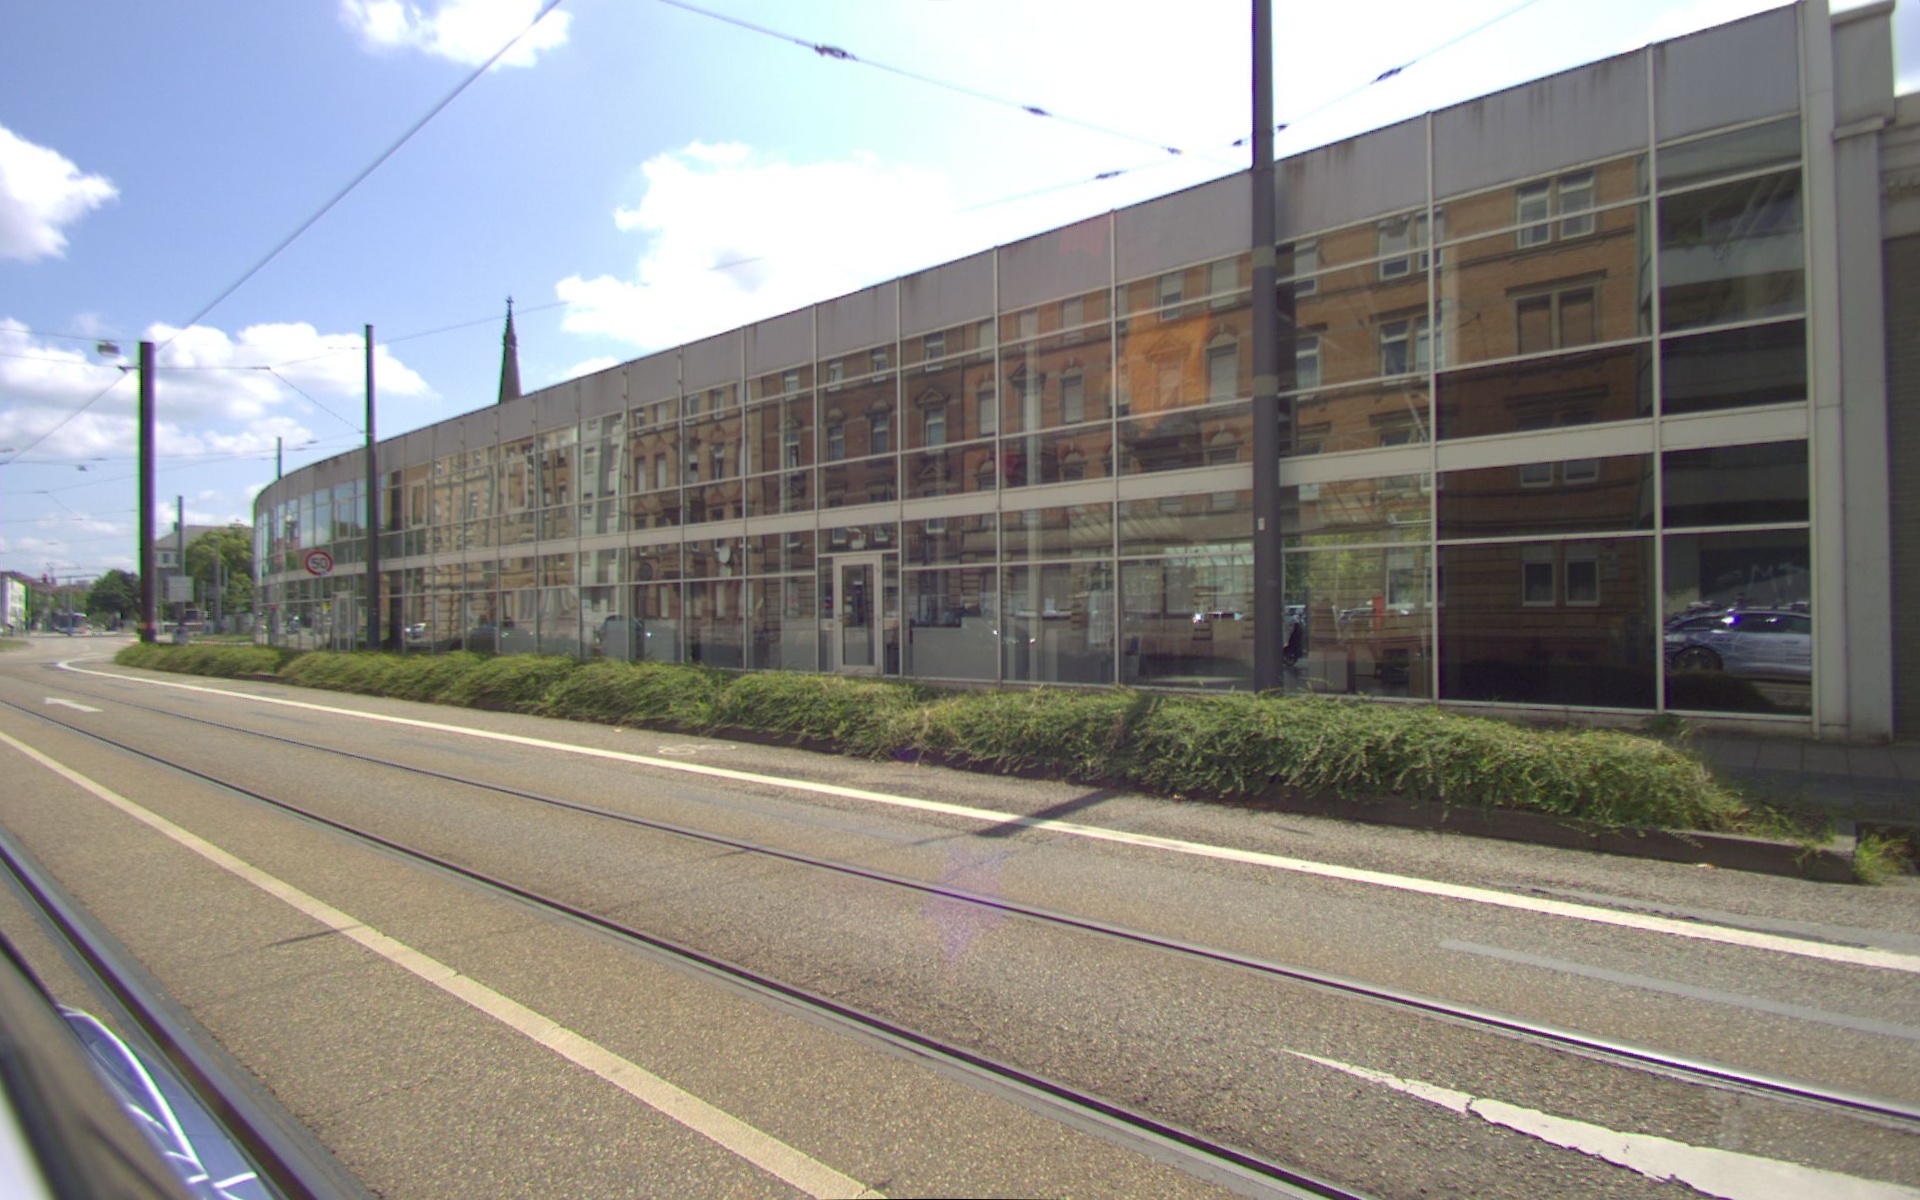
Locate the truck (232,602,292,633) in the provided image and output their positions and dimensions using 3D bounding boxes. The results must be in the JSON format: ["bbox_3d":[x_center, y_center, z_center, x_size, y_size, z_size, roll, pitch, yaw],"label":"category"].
[{"bbox_3d":[-97.427,2.353,141.362,2.931,4.150,6.857,-1,0,10],"label":"truck"}]

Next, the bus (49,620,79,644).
[{"bbox_3d":[-132.666,4.688,149.916,2.904,3.474,7.963,0,-2,-38],"label":"bus"}]

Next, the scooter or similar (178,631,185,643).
[{"bbox_3d":[-82.184,3.895,106.856,0.549,1.209,0.456,-2,-2,40],"label":"scooter or similar"}]
